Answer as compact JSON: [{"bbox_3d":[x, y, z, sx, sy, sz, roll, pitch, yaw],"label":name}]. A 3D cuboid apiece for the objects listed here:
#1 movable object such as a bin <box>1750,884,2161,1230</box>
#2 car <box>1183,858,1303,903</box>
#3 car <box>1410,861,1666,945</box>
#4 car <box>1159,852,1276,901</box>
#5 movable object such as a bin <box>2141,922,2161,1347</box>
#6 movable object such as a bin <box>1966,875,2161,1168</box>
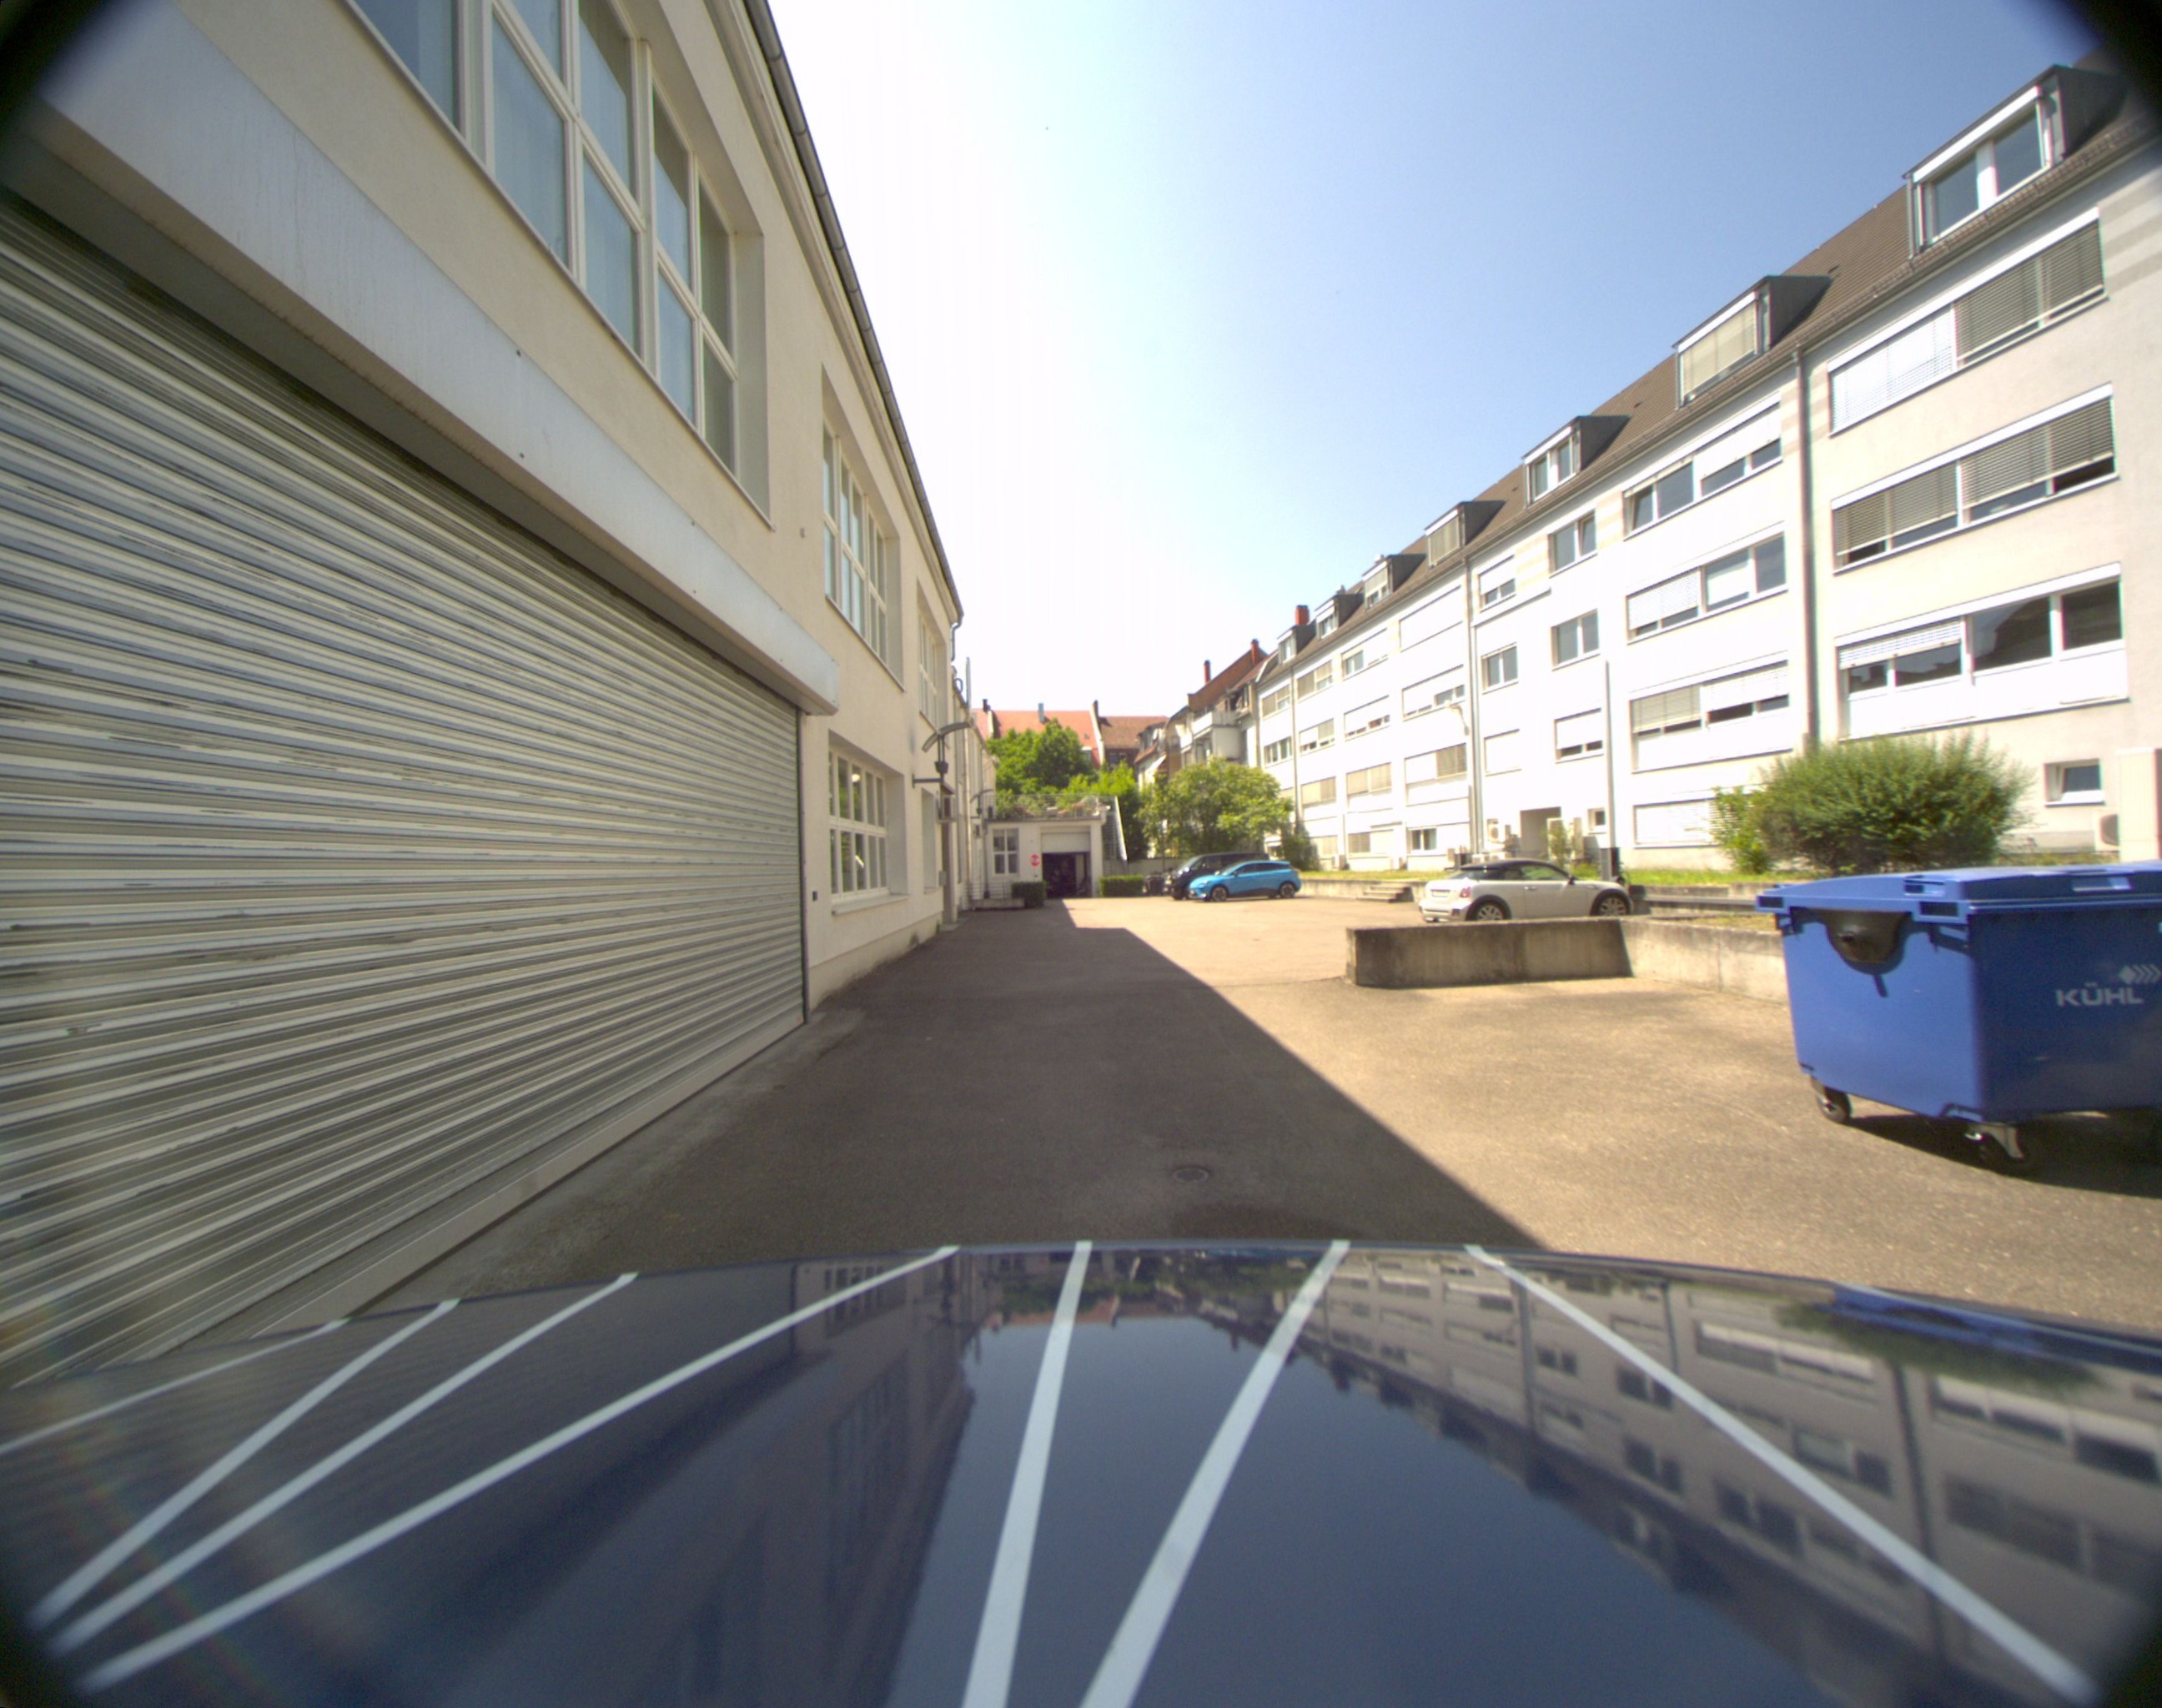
[{"bbox_3d":[4.354,0.842,3.652,1.258,1.320,1.104,-2,0,-3],"label":"movable object such as a bin"},{"bbox_3d":[6.286,1.008,29.670,4.169,1.544,1.858,-2,0,-8],"label":"car"},{"bbox_3d":[8.681,0.887,14.614,3.999,1.428,1.710,-1,0,-6],"label":"car"},{"bbox_3d":[5.733,0.930,32.229,4.450,1.821,1.999,-2,0,-6],"label":"car"},{"bbox_3d":[3.988,0.842,1.852,1.258,1.320,1.104,-2,0,-3],"label":"movable object such as a bin"},{"bbox_3d":[5.662,0.793,3.760,1.258,1.320,1.104,-2,0,-3],"label":"movable object such as a bin"}]
